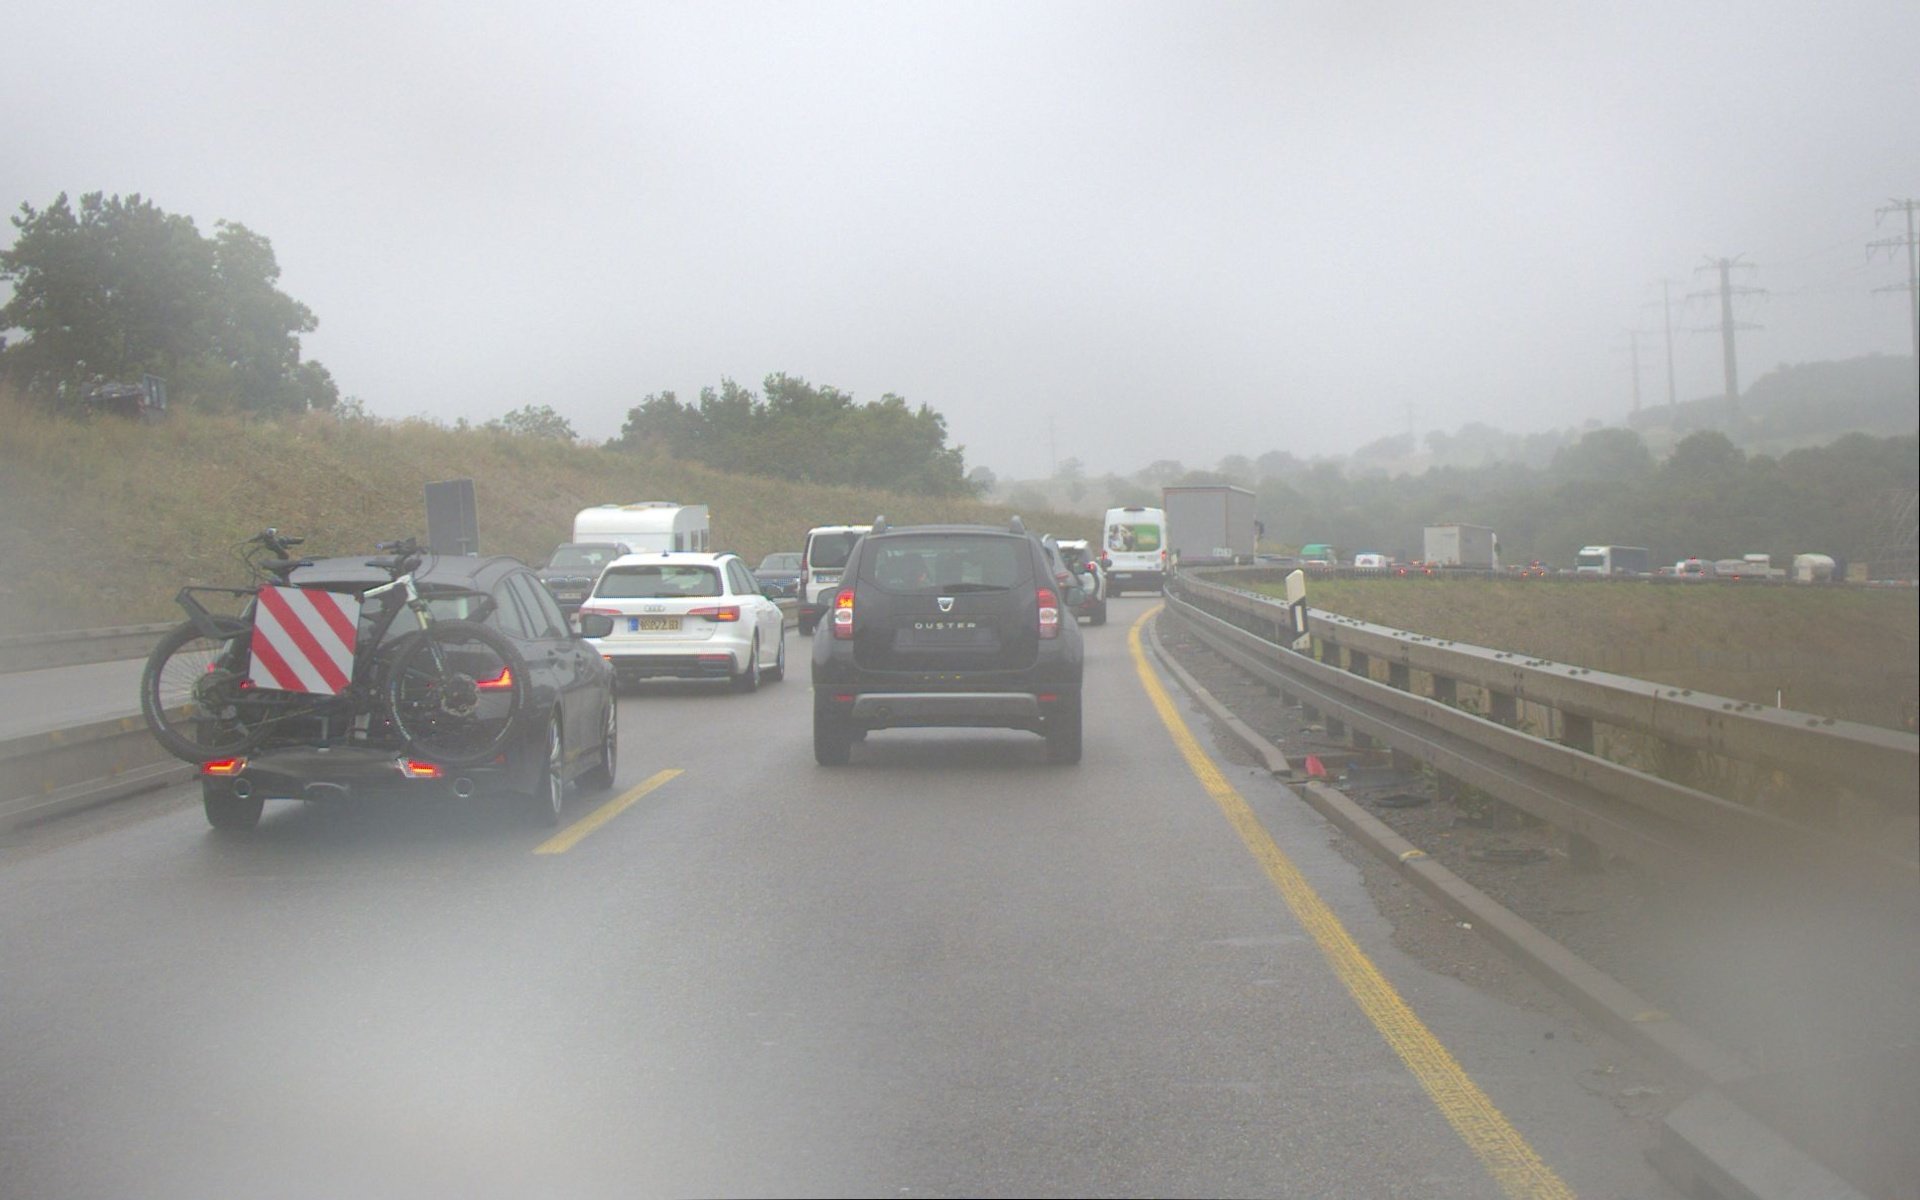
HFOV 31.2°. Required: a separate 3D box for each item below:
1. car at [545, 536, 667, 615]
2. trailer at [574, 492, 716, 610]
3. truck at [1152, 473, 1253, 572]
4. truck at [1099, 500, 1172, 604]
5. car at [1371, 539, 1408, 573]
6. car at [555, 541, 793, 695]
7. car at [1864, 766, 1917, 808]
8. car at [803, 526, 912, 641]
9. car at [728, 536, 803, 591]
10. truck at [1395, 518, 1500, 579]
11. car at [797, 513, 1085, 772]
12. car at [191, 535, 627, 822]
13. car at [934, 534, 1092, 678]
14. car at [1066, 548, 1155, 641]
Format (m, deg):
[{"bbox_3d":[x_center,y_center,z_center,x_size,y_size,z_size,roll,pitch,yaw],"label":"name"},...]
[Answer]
[{"bbox_3d":[-7.413,-0.551,72.389,1.993,1.581,5.119,1,1,0],"label":"car"},{"bbox_3d":[-7.113,-1.146,78.514,2.510,2.556,7.163,1,1,1],"label":"trailer"},{"bbox_3d":[9.620,-3.004,135.566,3.201,3.748,8.506,1,1,9],"label":"truck"},{"bbox_3d":[5.507,-1.500,108.447,2.149,3.155,6.459,1,1,2],"label":"truck"},{"bbox_3d":[24.638,-2.497,197.266,1.776,1.909,3.998,1,1,12],"label":"car"},{"bbox_3d":[-2.866,0.140,35.356,1.868,1.455,4.548,1,1,2],"label":"car"},{"bbox_3d":[51.829,10.414,191.547,2.366,2.007,3.999,1,1,8],"label":"car"},{"bbox_3d":[-1.721,-0.297,58.842,1.660,1.873,4.020,1,1,1],"label":"car"},{"bbox_3d":[-5.756,-1.102,102.205,1.877,1.495,4.335,1,2,2],"label":"car"},{"bbox_3d":[34.518,-3.618,242.615,4.721,4.135,15.669,1,1,18],"label":"truck"},{"bbox_3d":[-0.053,0.253,23.777,1.804,1.640,3.776,0,0,2],"label":"car"},{"bbox_3d":[-3.022,0.389,19.600,1.829,1.471,3.776,0,0,1],"label":"car"},{"bbox_3d":[0.663,0.049,43.040,1.867,1.703,4.000,1,1,1],"label":"car"},{"bbox_3d":[2.720,-0.127,62.781,1.530,1.635,4.013,1,1,2],"label":"car"}]
